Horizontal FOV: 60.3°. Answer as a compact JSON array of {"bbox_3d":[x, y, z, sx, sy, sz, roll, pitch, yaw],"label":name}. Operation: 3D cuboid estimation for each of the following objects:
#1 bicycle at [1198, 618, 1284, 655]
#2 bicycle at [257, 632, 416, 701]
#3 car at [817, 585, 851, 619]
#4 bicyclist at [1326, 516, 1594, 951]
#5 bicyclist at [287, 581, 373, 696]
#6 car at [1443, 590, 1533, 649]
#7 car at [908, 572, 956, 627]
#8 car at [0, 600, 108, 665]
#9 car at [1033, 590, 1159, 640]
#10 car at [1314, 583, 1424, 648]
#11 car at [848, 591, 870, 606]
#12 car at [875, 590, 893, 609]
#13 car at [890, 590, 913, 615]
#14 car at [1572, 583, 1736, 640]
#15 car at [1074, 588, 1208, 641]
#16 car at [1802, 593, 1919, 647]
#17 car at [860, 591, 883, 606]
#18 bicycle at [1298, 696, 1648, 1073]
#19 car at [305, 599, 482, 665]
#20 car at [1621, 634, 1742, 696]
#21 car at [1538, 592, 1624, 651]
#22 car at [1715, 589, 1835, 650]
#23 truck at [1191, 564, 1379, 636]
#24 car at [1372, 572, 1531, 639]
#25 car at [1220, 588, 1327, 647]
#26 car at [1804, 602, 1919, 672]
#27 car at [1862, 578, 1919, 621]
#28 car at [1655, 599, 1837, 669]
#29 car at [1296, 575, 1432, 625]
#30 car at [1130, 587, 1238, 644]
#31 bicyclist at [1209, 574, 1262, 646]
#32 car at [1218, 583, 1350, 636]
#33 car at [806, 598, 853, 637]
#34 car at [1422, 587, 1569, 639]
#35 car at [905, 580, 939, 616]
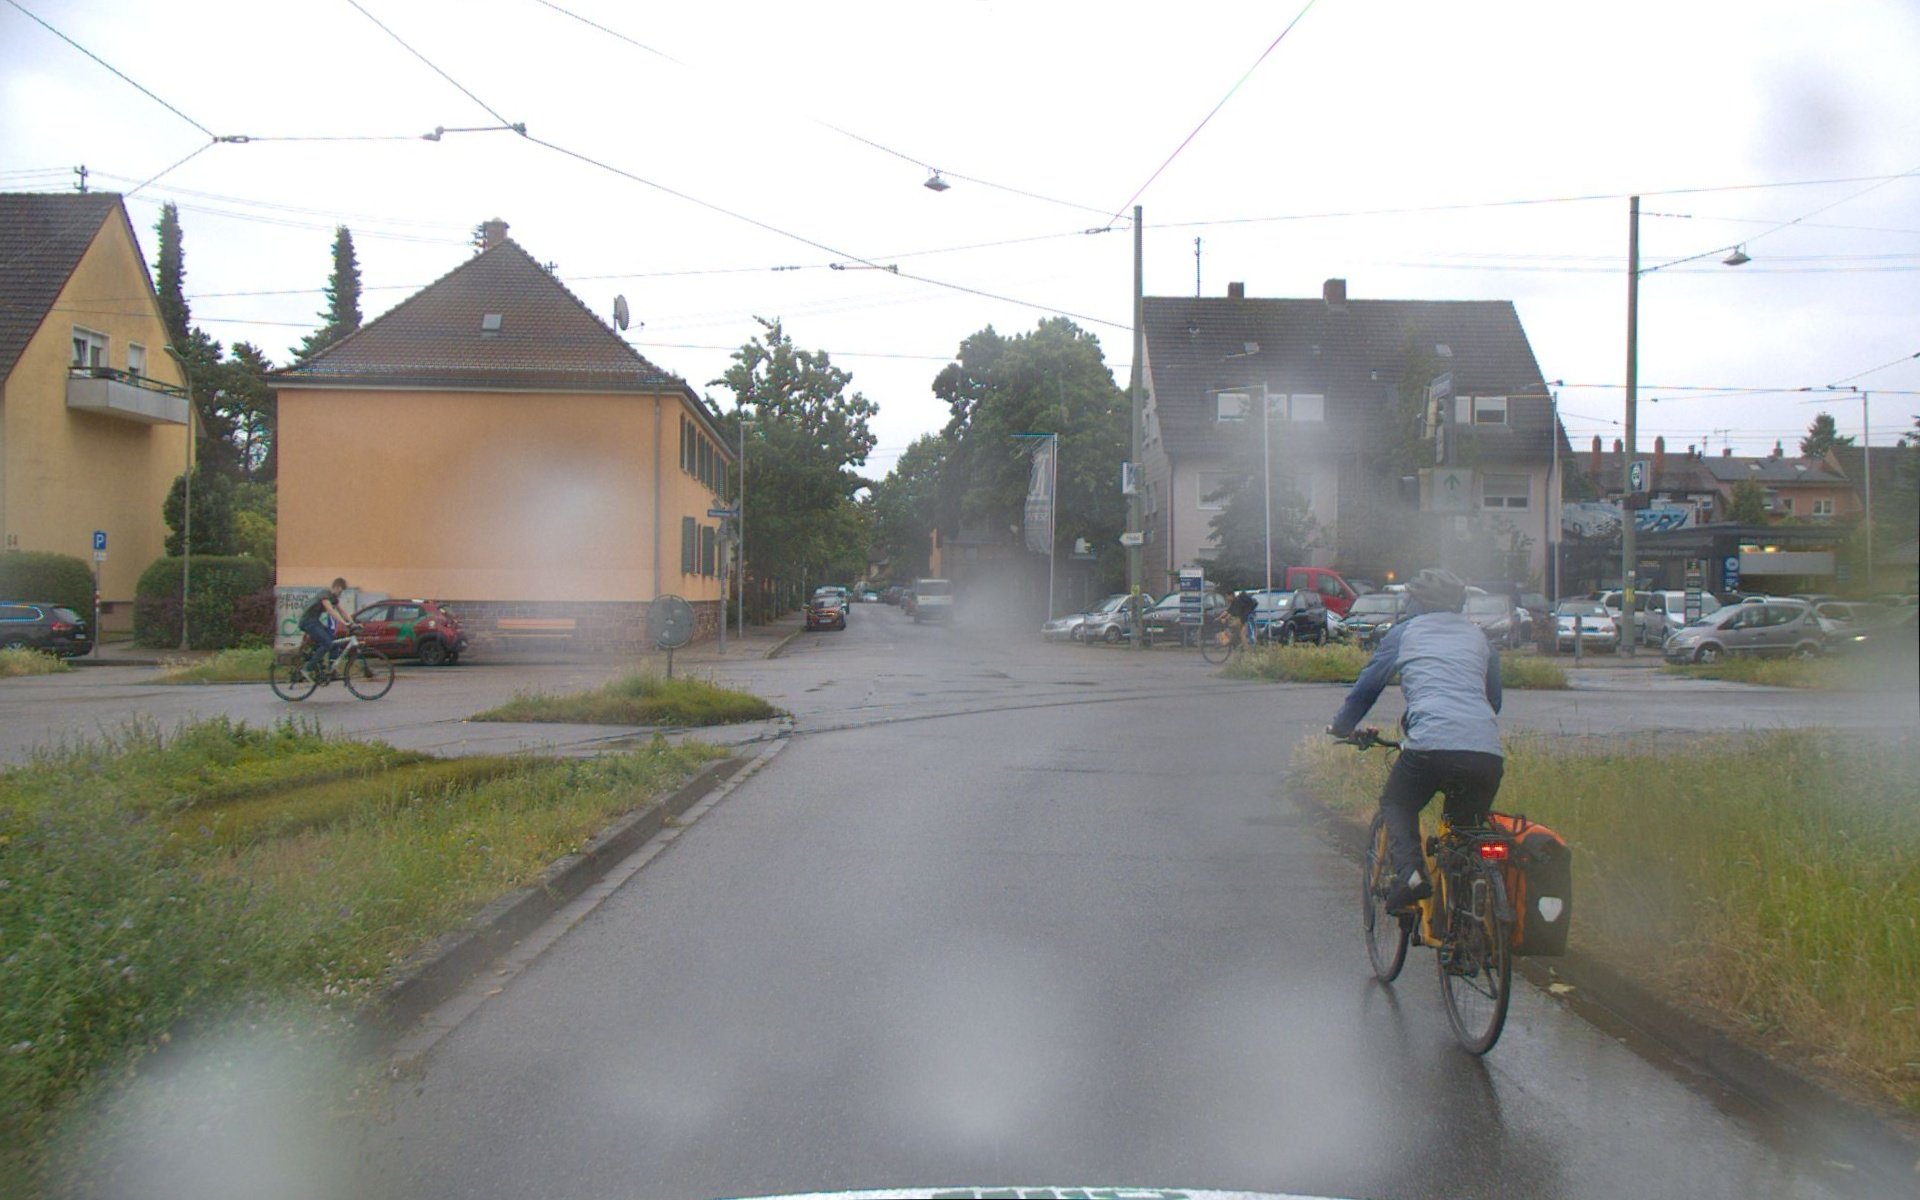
[{"bbox_3d":[6.441,0.839,38.002,1.778,0.800,0.942,-1,0,-3],"label":"bicycle"},{"bbox_3d":[-8.835,0.940,23.502,1.940,0.928,0.823,1,-1,-5],"label":"bicycle"},{"bbox_3d":[-8.022,0.129,105.728,1.953,2.049,3.999,2,0,-2],"label":"car"},{"bbox_3d":[1.848,0.468,6.230,0.735,1.511,0.846,-1,0,0],"label":"bicyclist"},{"bbox_3d":[-8.944,0.540,23.512,0.893,1.585,0.833,1,-1,-4],"label":"bicyclist"},{"bbox_3d":[14.987,0.558,46.805,1.792,1.530,4.054,2,0,26],"label":"car"},{"bbox_3d":[-1.440,-0.040,83.709,2.111,2.617,4.130,2,0,-4],"label":"car"},{"bbox_3d":[-22.124,0.716,37.650,4.401,1.420,1.966,1,0,-4],"label":"car"},{"bbox_3d":[4.535,0.472,55.201,3.804,1.606,1.796,-1,0,-22],"label":"car"},{"bbox_3d":[11.569,0.413,46.633,1.957,1.747,3.992,0,0,31],"label":"car"},{"bbox_3d":[-12.865,-0.218,209.555,1.800,1.726,4.011,2,0,-18],"label":"car"},{"bbox_3d":[-8.554,-0.017,185.965,1.792,2.049,3.997,2,0,-4],"label":"car"},{"bbox_3d":[-5.003,0.175,140.665,1.792,2.049,3.997,2,0,-4],"label":"car"},{"bbox_3d":[21.441,0.360,51.202,4.341,1.717,1.760,0,-1,0],"label":"car"},{"bbox_3d":[5.687,0.435,51.923,3.804,1.606,1.796,-1,0,-22],"label":"car"},{"bbox_3d":[25.748,0.564,47.071,1.682,1.420,3.843,2,0,2],"label":"car"},{"bbox_3d":[-10.969,-0.135,204.185,1.800,1.726,4.011,2,0,-18],"label":"car"},{"bbox_3d":[1.854,0.975,6.309,0.737,1.091,1.927,-1,0,0],"label":"bicycle"},{"bbox_3d":[-13.195,0.731,38.676,3.534,1.362,1.721,2,0,-4],"label":"car"},{"bbox_3d":[20.469,1.817,47.071,1.765,1.606,3.872,0,0,0],"label":"car"},{"bbox_3d":[17.424,0.589,46.589,1.789,1.530,4.061,2,0,14],"label":"car"},{"bbox_3d":[23.268,0.532,47.351,1.682,1.600,3.618,2,0,2],"label":"car"},{"bbox_3d":[10.846,0.036,55.214,5.955,2.312,2.001,0,-1,18],"label":"truck"},{"bbox_3d":[15.187,0.181,51.298,4.341,2.049,2.000,0,-1,0],"label":"car"},{"bbox_3d":[8.943,0.475,46.977,1.768,1.606,3.864,-1,0,31],"label":"car"},{"bbox_3d":[21.420,0.803,37.167,3.907,1.502,1.999,0,0,-3],"label":"car"},{"bbox_3d":[37.491,0.009,64.503,4.375,1.608,1.780,0,-1,-24],"label":"car"},{"bbox_3d":[18.997,0.806,40.065,3.560,1.530,1.722,2,0,-3],"label":"car"},{"bbox_3d":[14.208,0.004,58.332,4.341,1.717,2.000,0,-1,0],"label":"car"},{"bbox_3d":[6.603,0.428,48.408,1.768,1.606,3.864,-1,0,31],"label":"car"},{"bbox_3d":[6.324,0.234,37.991,1.018,1.626,0.949,-1,0,-3],"label":"bicyclist"},{"bbox_3d":[10.218,0.305,52.078,3.883,1.626,2.001,0,-1,18],"label":"car"},{"bbox_3d":[-5.595,0.758,71.403,1.954,1.646,3.997,0,0,-4],"label":"car"},{"bbox_3d":[18.076,0.455,55.933,4.341,1.717,2.000,0,-1,0],"label":"car"},{"bbox_3d":[-2.335,-0.108,100.890,1.953,2.049,3.999,2,0,-2],"label":"car"}]
